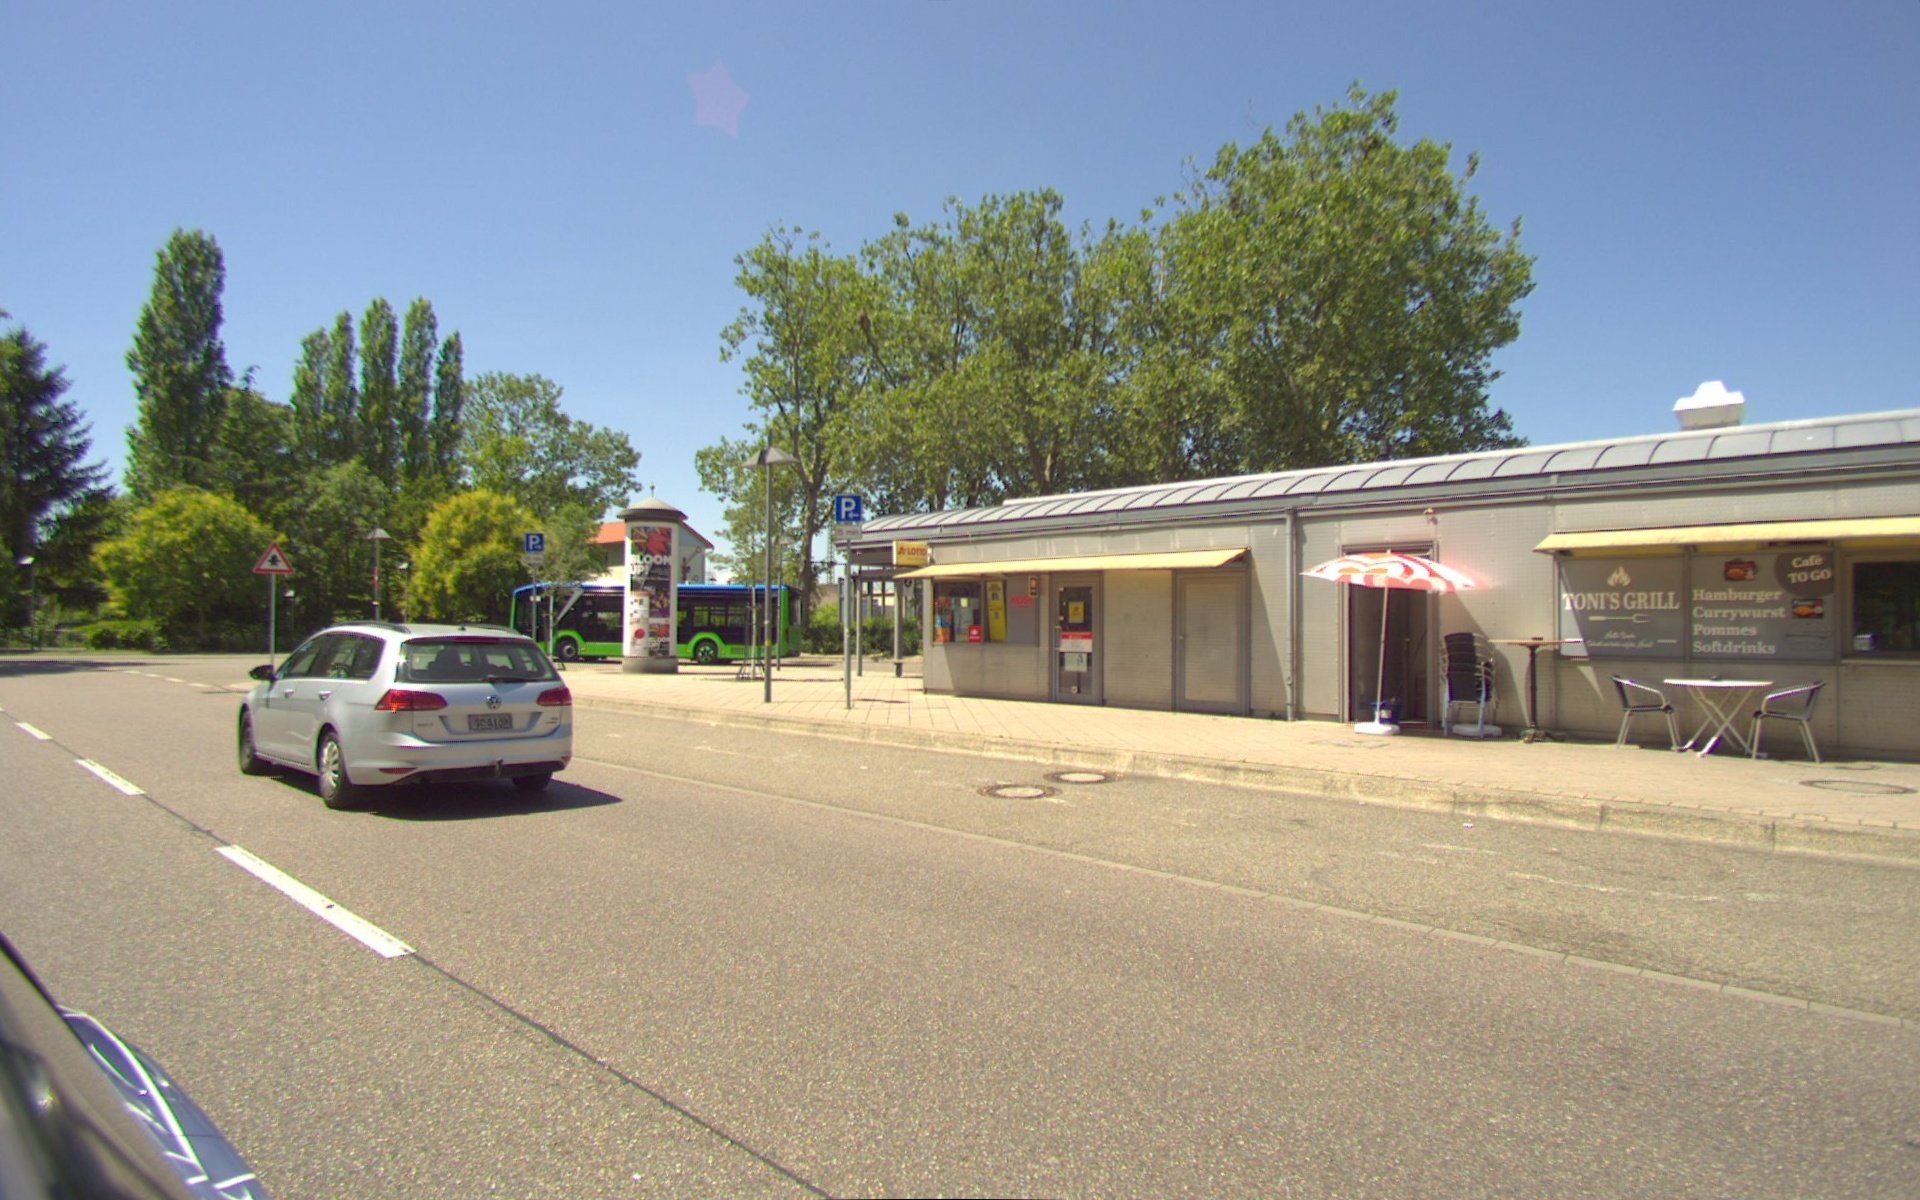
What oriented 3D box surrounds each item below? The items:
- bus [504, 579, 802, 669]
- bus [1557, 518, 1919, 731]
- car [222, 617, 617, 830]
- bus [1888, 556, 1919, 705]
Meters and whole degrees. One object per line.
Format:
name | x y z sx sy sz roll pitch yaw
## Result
bus | -12.673 1.015 41.862 12.081 3.553 2.163 0 -2 9
bus | 16.440 0.393 15.832 11.849 3.258 2.932 -2 -3 44
car | -4.964 0.947 9.035 4.157 1.455 1.795 -2 -4 42
bus | 26.026 0.485 16.834 15.519 3.060 2.835 -2 -3 44
